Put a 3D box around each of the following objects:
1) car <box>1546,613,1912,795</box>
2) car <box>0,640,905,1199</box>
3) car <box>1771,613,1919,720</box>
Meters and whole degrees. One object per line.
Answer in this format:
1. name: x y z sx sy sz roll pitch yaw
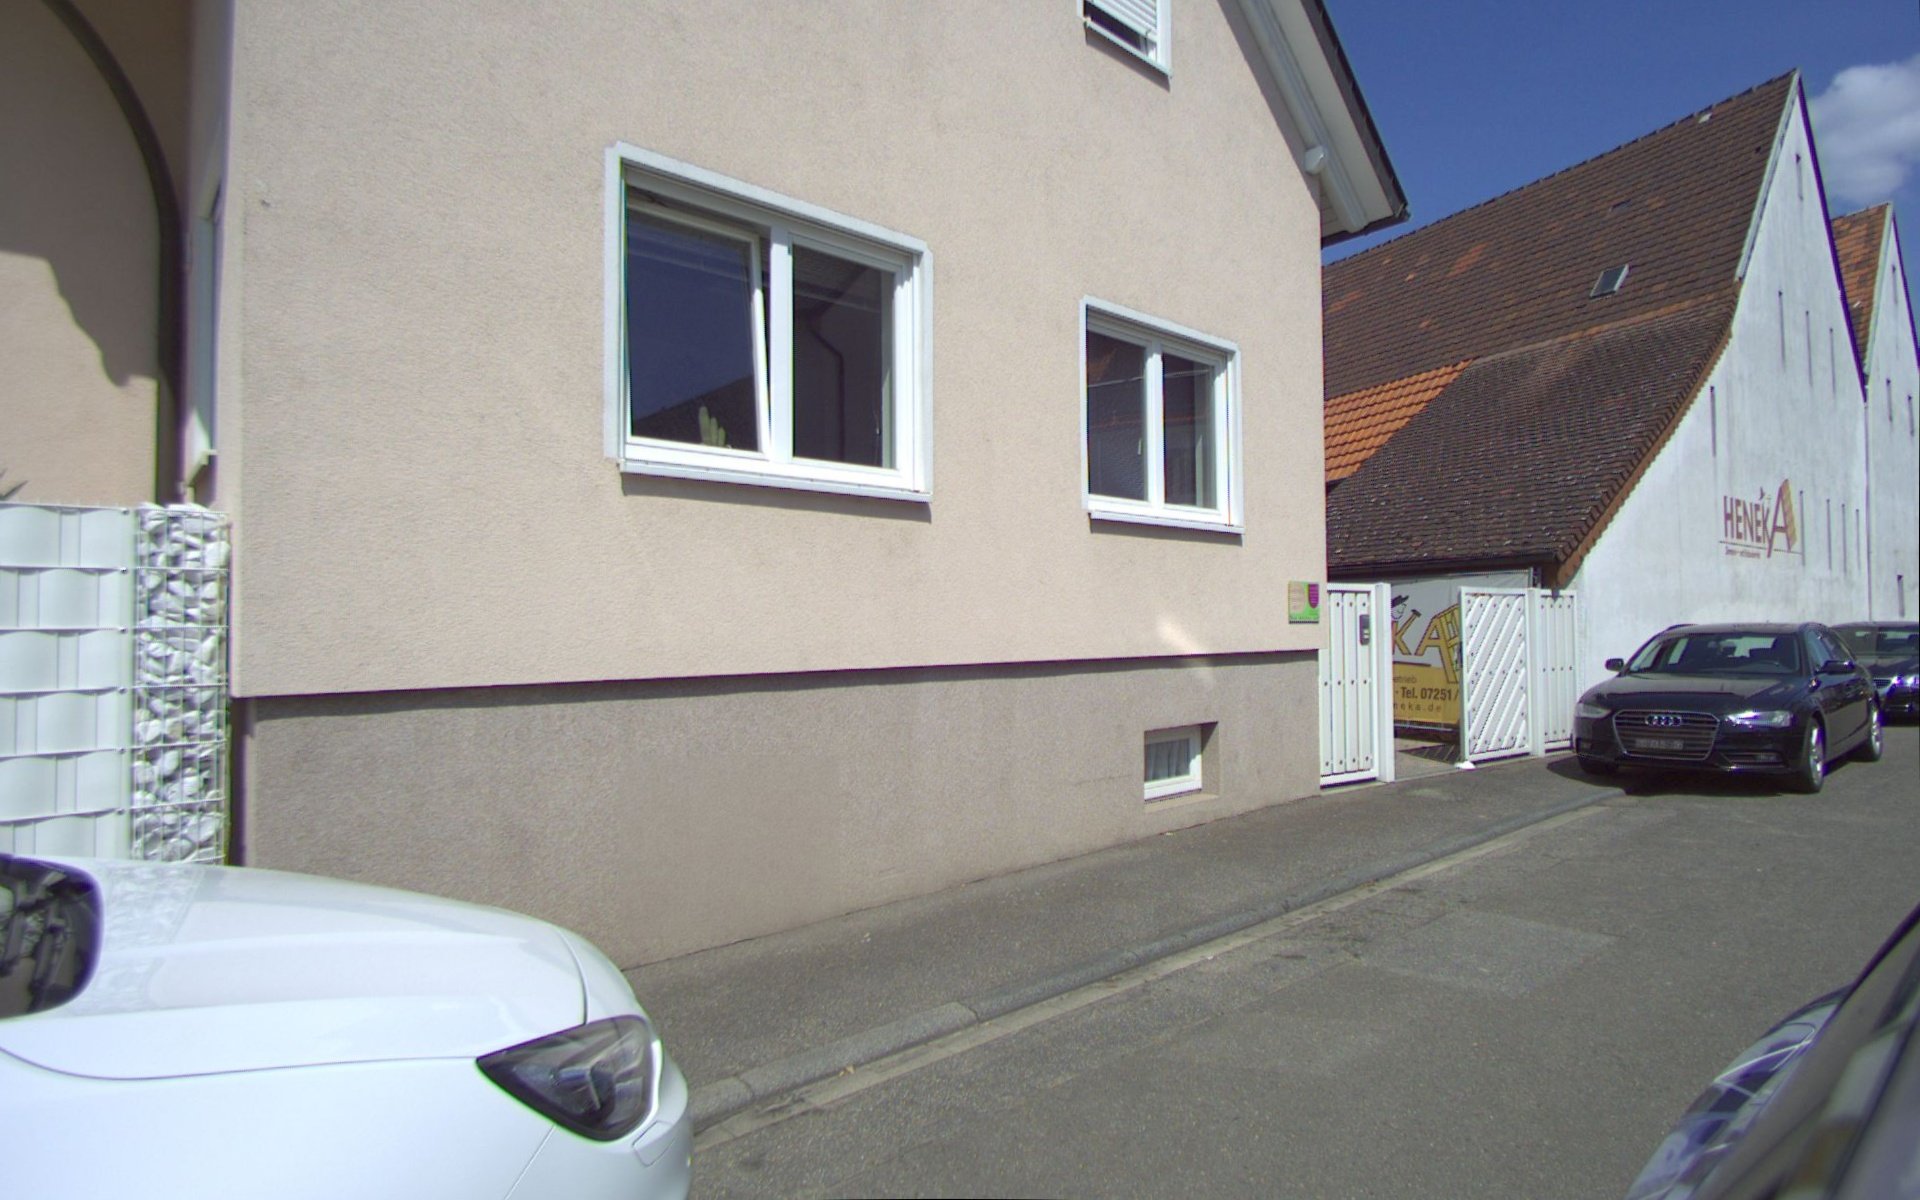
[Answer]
1. car: 7.850 0.859 10.156 4.652 1.383 1.899 0 -2 -40
2. car: -2.452 0.824 1.032 4.656 1.447 1.897 0 -2 -42
3. car: 14.003 0.909 15.166 4.333 1.383 1.900 0 -2 -38
